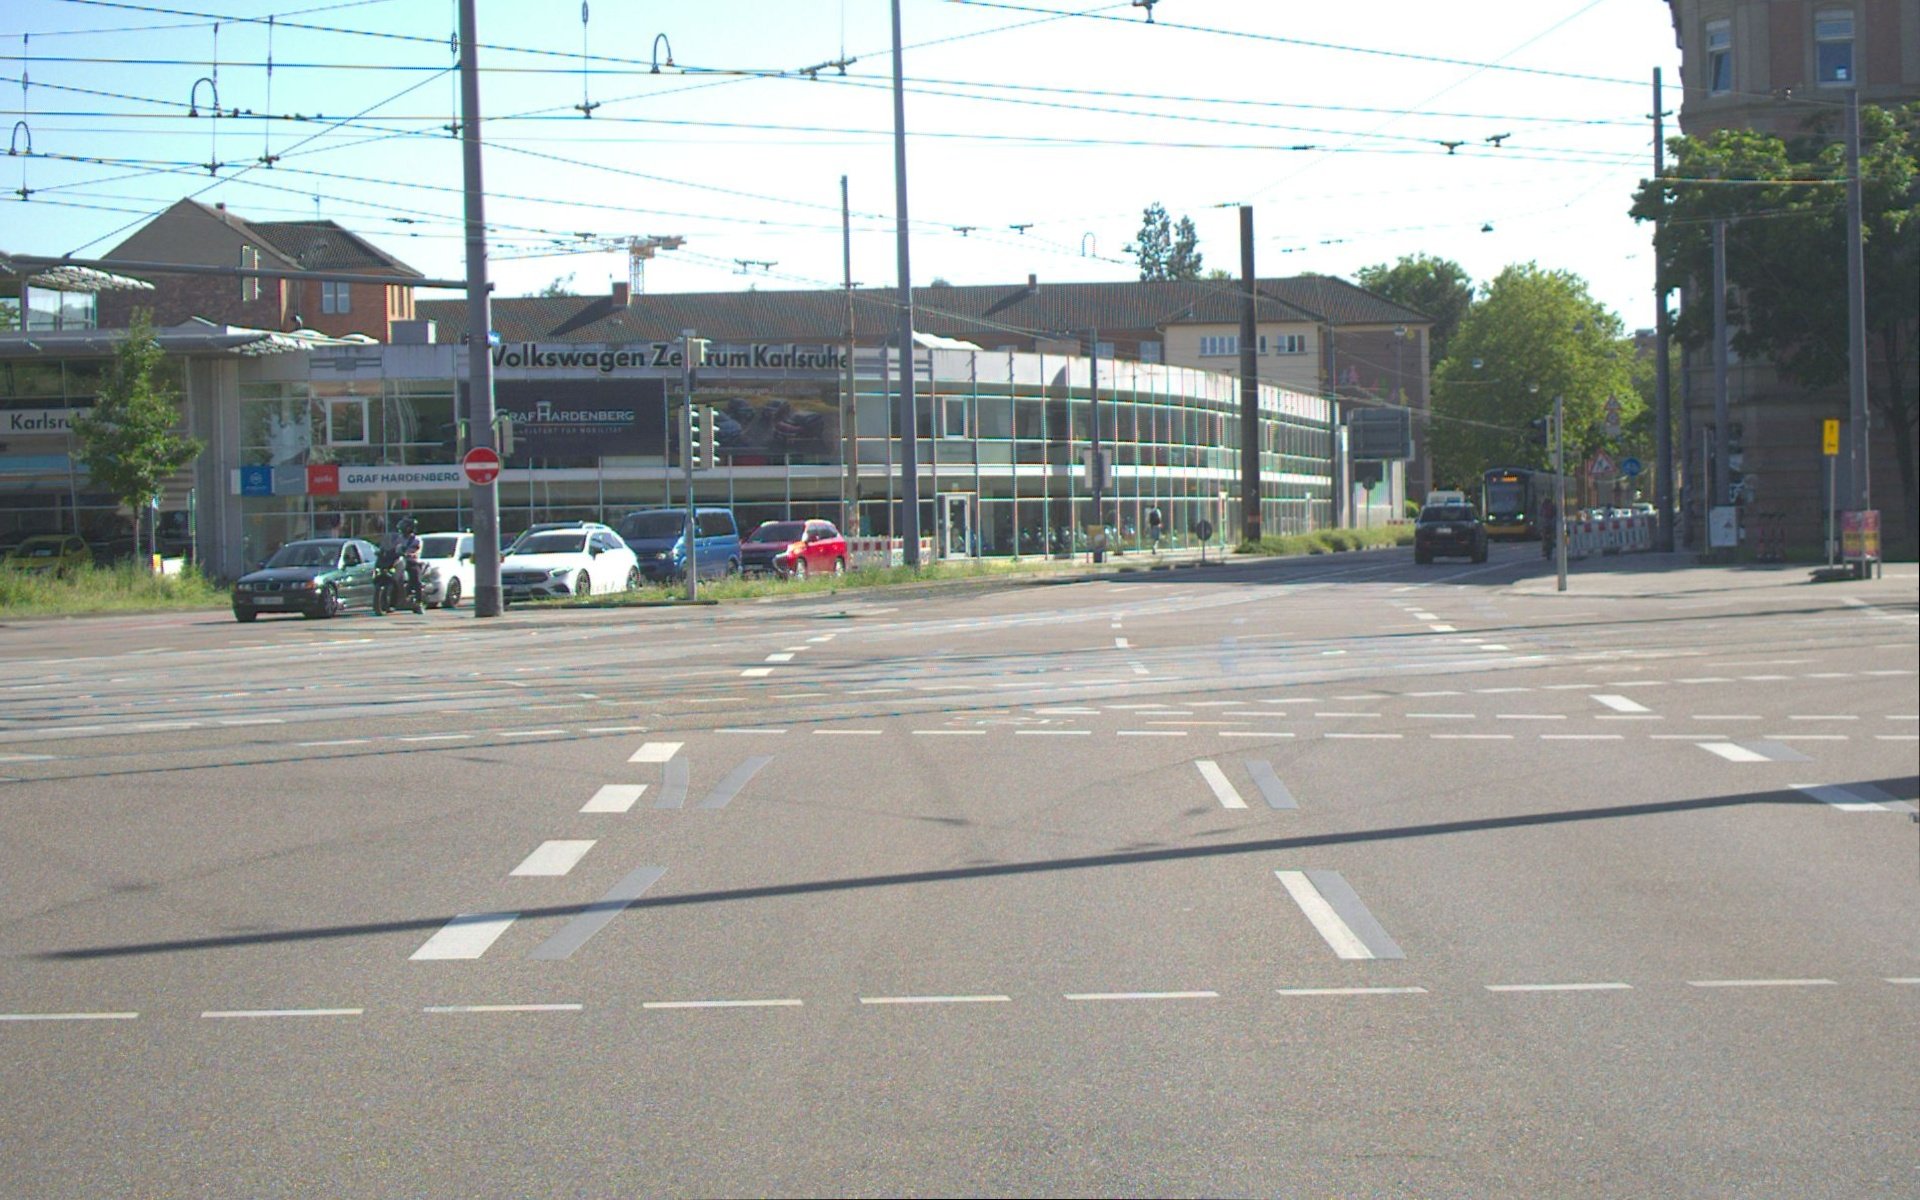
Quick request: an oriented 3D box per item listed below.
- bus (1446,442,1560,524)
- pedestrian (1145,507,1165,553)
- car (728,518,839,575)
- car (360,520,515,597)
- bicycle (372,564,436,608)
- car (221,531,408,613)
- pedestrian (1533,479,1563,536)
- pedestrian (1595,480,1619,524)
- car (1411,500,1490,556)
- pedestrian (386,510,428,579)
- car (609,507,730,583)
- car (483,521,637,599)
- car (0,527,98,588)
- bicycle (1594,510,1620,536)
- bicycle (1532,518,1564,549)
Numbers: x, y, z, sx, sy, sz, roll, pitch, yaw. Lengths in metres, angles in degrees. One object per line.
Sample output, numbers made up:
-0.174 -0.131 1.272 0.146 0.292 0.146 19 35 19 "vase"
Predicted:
27.503 -5.745 172.945 3.839 3.595 24.852 1 1 13 "bus"
7.109 -2.547 125.143 0.543 1.683 0.629 -1 1 20 "pedestrian"
-4.396 -1.348 86.089 1.627 1.359 3.683 -1 1 16 "car"
-10.121 -0.824 66.832 1.627 1.419 3.683 -1 1 14 "car"
-9.752 -0.249 60.340 0.423 0.715 1.633 -1 1 17 "bicycle"
-11.390 -0.511 60.881 1.705 1.349 3.698 -1 1 17 "car"
17.099 -2.676 99.981 0.803 1.626 0.717 -1 0 15 "pedestrian"
22.526 -3.411 119.697 0.746 1.517 0.717 -1 1 15 "pedestrian"
13.623 -2.020 95.335 1.700 1.497 4.262 -1 1 14 "car"
-9.719 -0.982 60.475 0.423 1.200 0.749 -1 1 17 "pedestrian"
-6.645 -1.277 78.962 1.627 1.686 3.683 -1 1 14 "car"
-7.522 -0.770 64.951 1.627 1.377 3.735 -1 1 14 "car"
-26.531 -1.242 99.882 1.966 1.700 4.084 -1 1 -1 "car"
22.495 -2.689 119.547 0.743 0.867 1.930 -1 1 15 "bicycle"
17.048 -1.935 99.618 0.743 0.867 1.930 -1 1 15 "bicycle"
